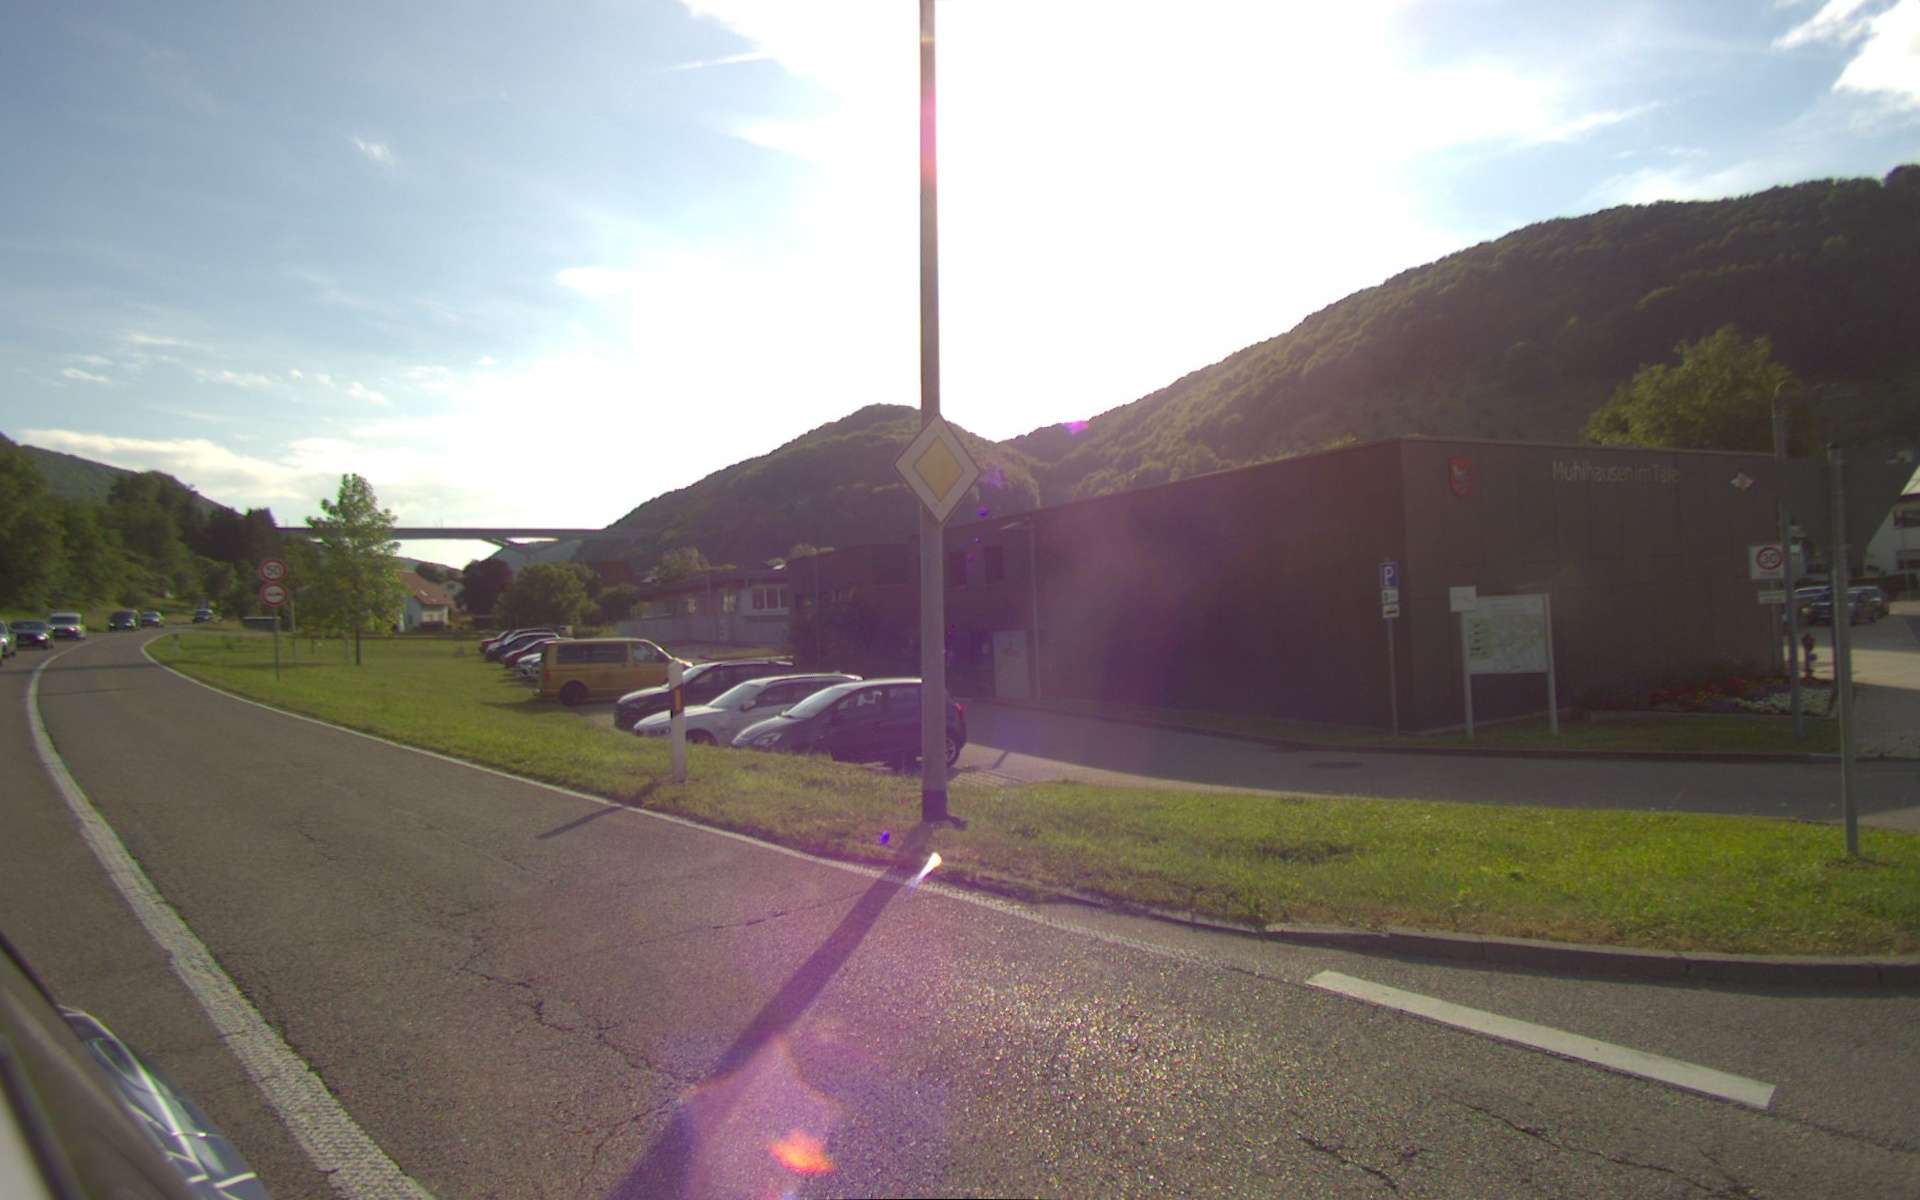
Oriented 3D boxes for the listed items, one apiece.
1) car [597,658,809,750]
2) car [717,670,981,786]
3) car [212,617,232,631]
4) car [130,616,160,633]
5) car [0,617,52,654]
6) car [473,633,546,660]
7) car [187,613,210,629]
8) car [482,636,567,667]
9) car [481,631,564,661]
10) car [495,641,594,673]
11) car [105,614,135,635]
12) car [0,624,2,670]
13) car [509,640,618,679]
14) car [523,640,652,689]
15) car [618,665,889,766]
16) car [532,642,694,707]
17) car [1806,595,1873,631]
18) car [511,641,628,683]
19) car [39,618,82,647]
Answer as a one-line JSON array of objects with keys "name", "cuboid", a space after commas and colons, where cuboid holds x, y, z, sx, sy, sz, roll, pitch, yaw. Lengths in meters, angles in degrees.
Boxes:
[{"name": "car", "cuboid": [-5.785, 2.261, 22.906, 4.224, 1.650, 1.918, -2, -1, -32]}, {"name": "car", "cuboid": [-1.825, 2.011, 16.689, 3.931, 1.546, 1.839, 0, -2, -28]}, {"name": "car", "cuboid": [-105.669, 3.486, 144.968, 1.880, 1.918, 4.012, -1, 0, -31]}, {"name": "car", "cuboid": [-85.505, 2.609, 106.191, 1.966, 1.730, 4.011, -1, -1, -32]}, {"name": "car", "cuboid": [-45.807, 1.740, 49.525, 1.884, 1.698, 4.007, 0, -2, -40]}, {"name": "car", "cuboid": [-30.035, 3.083, 67.475, 4.370, 1.733, 2.006, 0, -2, -28]}, {"name": "car", "cuboid": [-99.897, 2.730, 132.803, 1.880, 1.918, 4.012, -1, 0, -31]}, {"name": "car", "cuboid": [-25.202, 2.942, 58.564, 4.370, 1.595, 2.006, -1, -1, -28]}, {"name": "car", "cuboid": [-27.191, 2.832, 62.962, 4.594, 1.776, 2.006, 0, -2, -28]}, {"name": "car", "cuboid": [-20.371, 2.757, 49.635, 4.370, 1.463, 2.006, 0, -2, -26]}, {"name": "car", "cuboid": [-75.427, 2.217, 90.928, 1.652, 1.659, 3.355, -2, -2, -33]}, {"name": "car", "cuboid": [-31.287, 1.513, 31.681, 1.772, 1.484, 4.288, 0, -2, -42]}, {"name": "car", "cuboid": [-17.743, 2.626, 45.321, 4.370, 1.595, 2.006, 0, -2, -28]}, {"name": "car", "cuboid": [-14.447, 2.465, 39.274, 4.476, 1.714, 2.006, 0, -2, -26]}, {"name": "car", "cuboid": [-3.811, 2.051, 18.881, 4.575, 1.508, 1.918, 1, -2, -31]}, {"name": "car", "cuboid": [-10.865, 2.271, 31.742, 4.582, 1.827, 2.006, 0, -2, -26]}, {"name": "car", "cuboid": [40.041, 0.583, 46.181, 1.997, 1.525, 3.950, -2, -2, 37]}, {"name": "car", "cuboid": [-16.296, 2.568, 42.262, 4.370, 1.599, 2.006, 0, -2, -26]}, {"name": "car", "cuboid": [-58.101, 2.112, 65.425, 1.771, 1.749, 4.292, 0, -1, -37]}]
